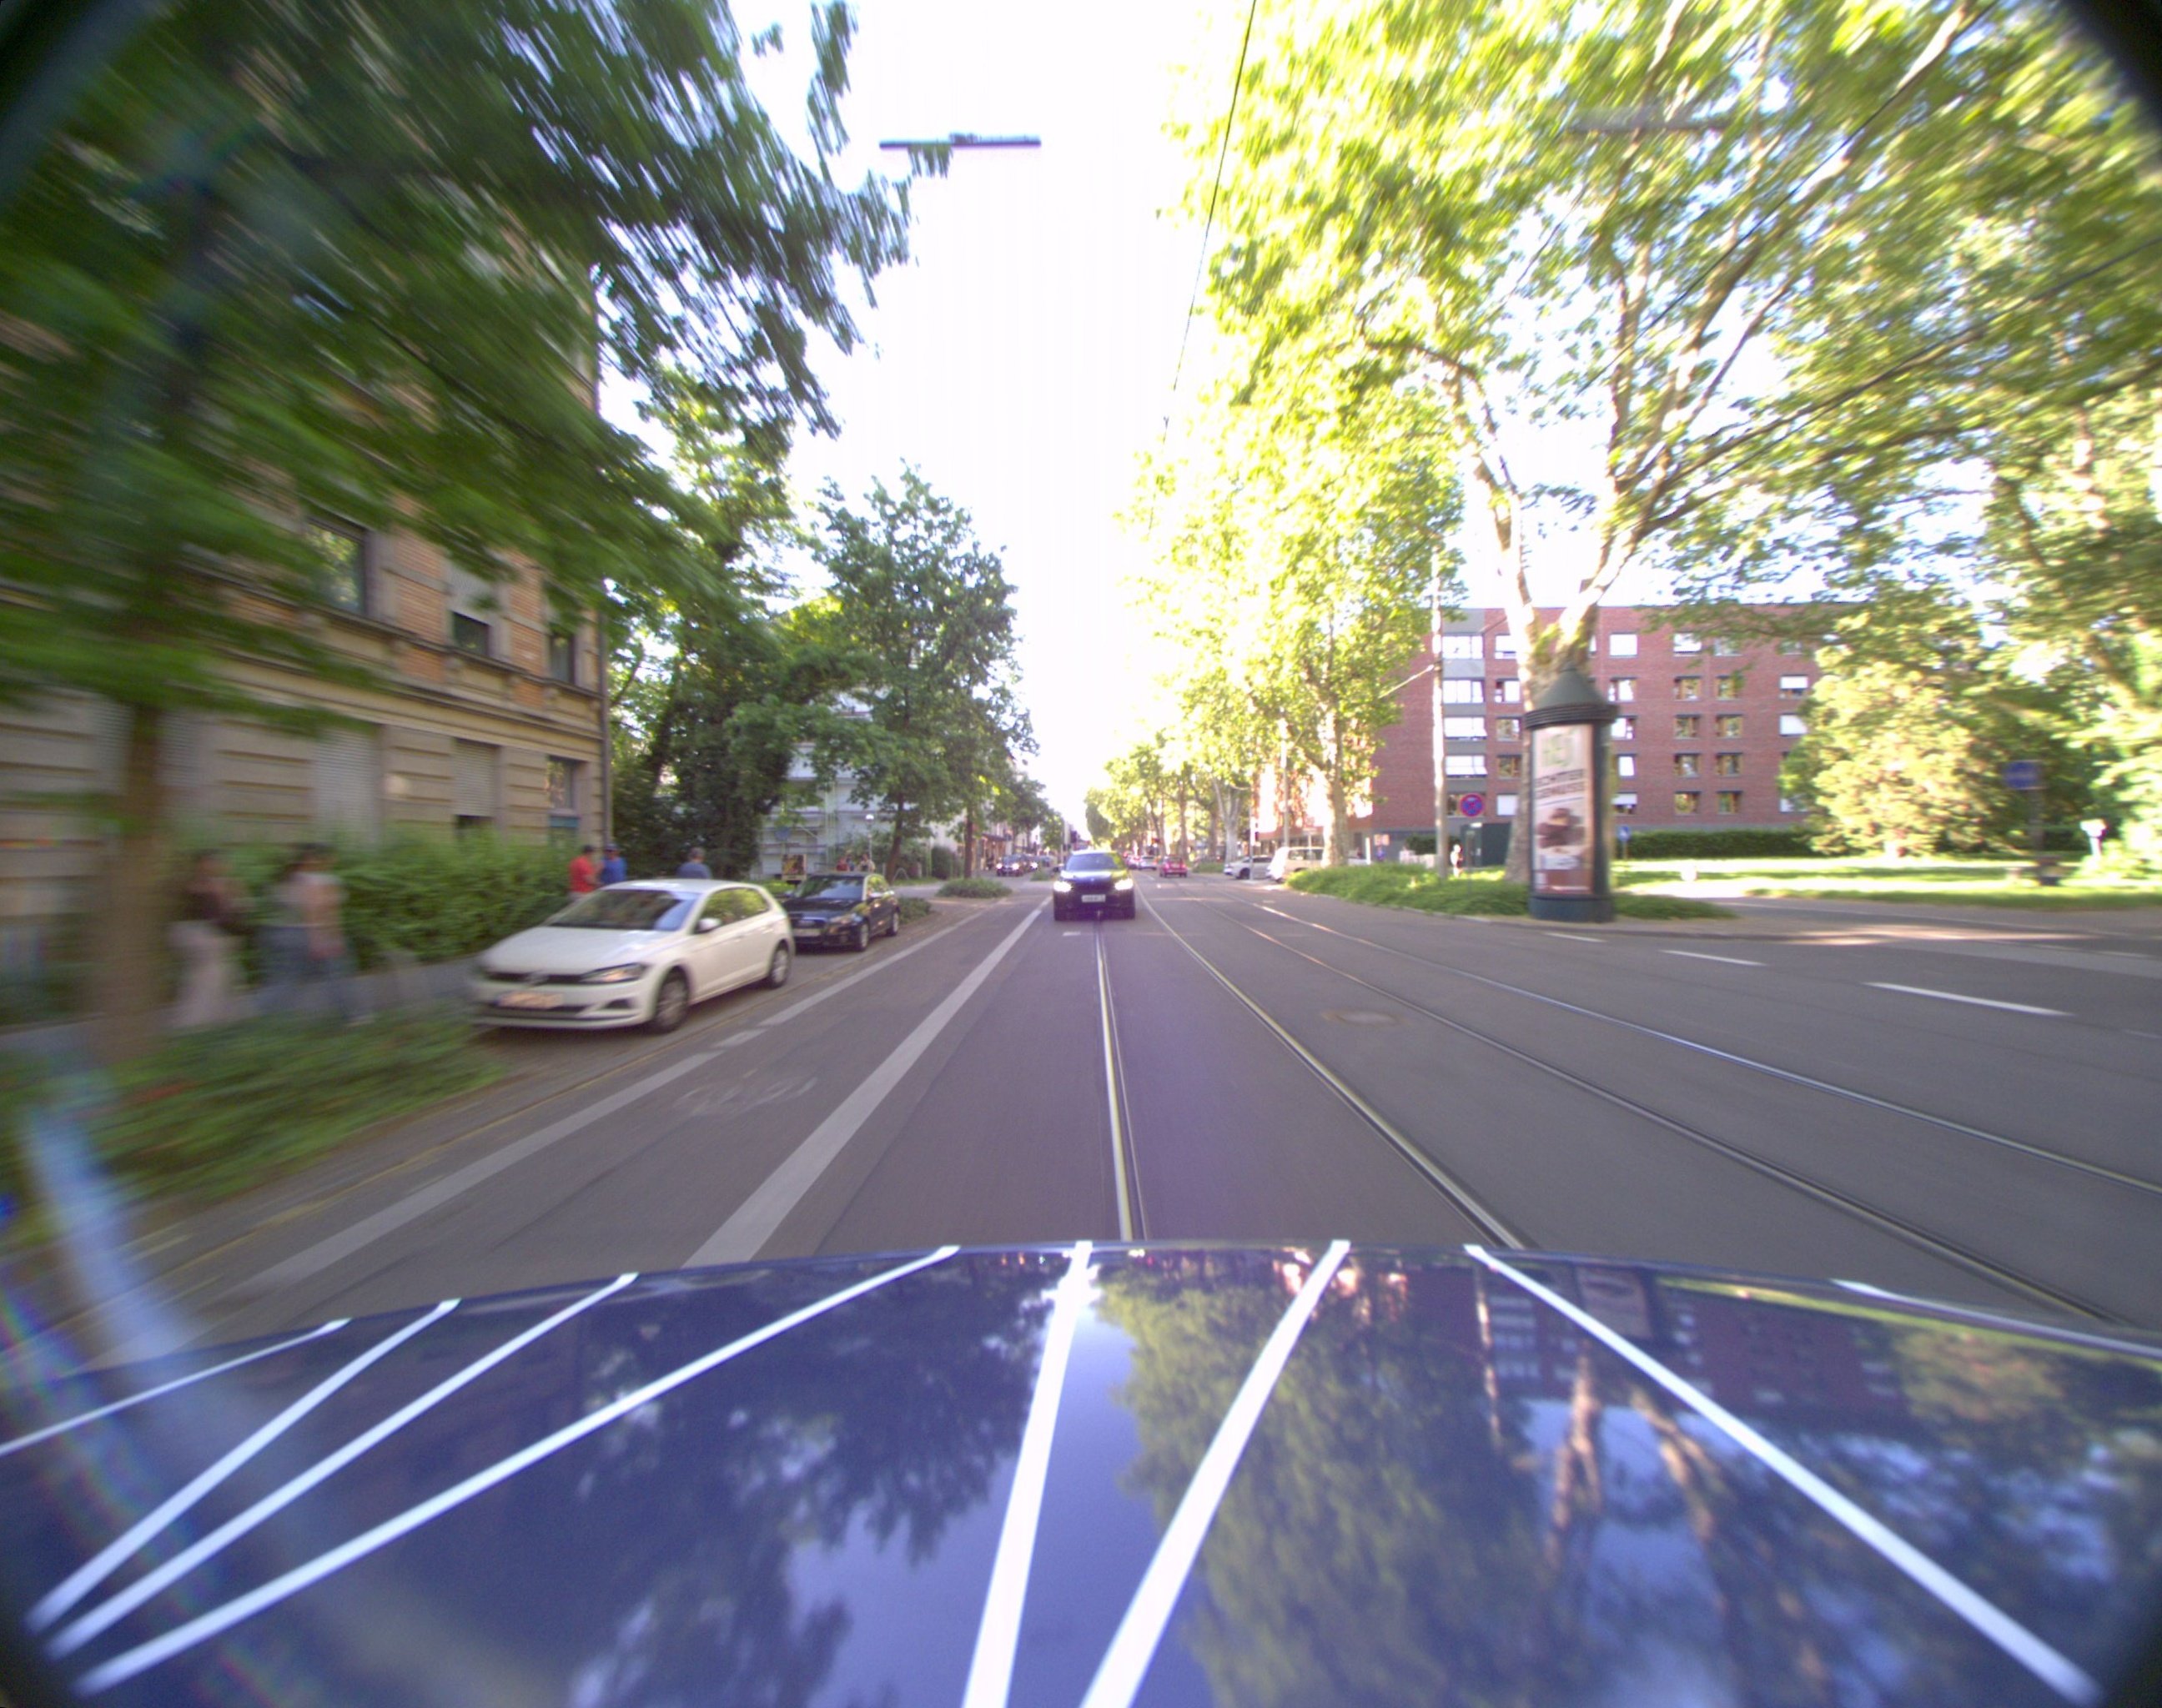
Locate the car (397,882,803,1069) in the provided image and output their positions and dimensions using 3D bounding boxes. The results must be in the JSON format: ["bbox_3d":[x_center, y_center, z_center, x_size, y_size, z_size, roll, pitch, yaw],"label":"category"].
[{"bbox_3d":[-4.863,1.115,8.537,1.888,1.360,4.106,2,1,1],"label":"car"}]

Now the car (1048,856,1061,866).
[{"bbox_3d":[-4.293,1.128,123.519,1.899,1.477,4.000,-2,1,1],"label":"car"}]

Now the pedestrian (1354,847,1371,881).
[{"bbox_3d":[15.084,0.522,40.699,0.645,1.799,0.752,-2,1,6],"label":"pedestrian"}]

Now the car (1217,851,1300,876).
[{"bbox_3d":[11.241,0.592,48.255,4.776,1.452,1.954,-2,1,0],"label":"car"}]

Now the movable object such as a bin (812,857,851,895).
[{"bbox_3d":[-8.169,0.696,24.938,0.640,1.195,1.306,1,1,12],"label":"movable object such as a bin"}]

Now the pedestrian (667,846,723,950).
[{"bbox_3d":[-6.871,0.764,13.525,0.726,1.783,0.601,-1,1,42],"label":"pedestrian"}]

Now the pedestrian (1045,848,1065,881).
[{"bbox_3d":[-1.531,0.617,43.868,0.870,1.874,0.996,-2,1,-17],"label":"pedestrian"}]

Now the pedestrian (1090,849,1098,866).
[{"bbox_3d":[1.373,0.375,80.725,0.836,1.703,0.640,-2,1,2],"label":"pedestrian"}]

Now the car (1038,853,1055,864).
[{"bbox_3d":[-5.085,0.623,111.759,1.958,1.474,4.660,-2,0,3],"label":"car"}]

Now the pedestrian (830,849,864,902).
[{"bbox_3d":[-8.015,0.714,26.042,0.727,1.783,0.969,1,1,12],"label":"pedestrian"}]

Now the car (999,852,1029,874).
[{"bbox_3d":[-5.222,0.695,59.755,1.766,1.612,4.442,1,0,2],"label":"car"}]

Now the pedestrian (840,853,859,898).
[{"bbox_3d":[-8.994,0.832,29.554,0.620,1.716,0.553,-2,1,-14],"label":"pedestrian"}]

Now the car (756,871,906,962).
[{"bbox_3d":[-4.725,1.112,14.928,1.677,1.404,3.842,2,1,-1],"label":"car"}]

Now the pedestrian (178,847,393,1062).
[{"bbox_3d":[-6.678,0.789,6.438,0.727,1.683,0.957,-2,1,6],"label":"pedestrian"}]

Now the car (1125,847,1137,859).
[{"bbox_3d":[11.602,-0.239,177.641,2.429,2.833,5.072,-2,1,0],"label":"car"}]

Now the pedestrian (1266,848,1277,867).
[{"bbox_3d":[18.191,0.317,72.654,0.765,1.734,0.972,-2,1,1],"label":"pedestrian"}]

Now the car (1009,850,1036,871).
[{"bbox_3d":[-5.548,0.580,72.589,1.998,1.885,4.194,1,0,3],"label":"car"}]

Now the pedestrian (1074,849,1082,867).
[{"bbox_3d":[-0.301,0.372,75.074,0.690,1.745,0.580,-2,1,-5],"label":"pedestrian"}]

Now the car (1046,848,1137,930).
[{"bbox_3d":[0.350,0.758,19.257,1.937,1.718,5.073,-2,0,3],"label":"car"}]

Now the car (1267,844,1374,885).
[{"bbox_3d":[11.703,0.506,37.343,4.582,1.823,1.938,-2,1,1],"label":"car"}]

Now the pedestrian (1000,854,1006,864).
[{"bbox_3d":[-8.999,0.594,87.673,0.680,1.198,0.648,-2,1,-10],"label":"pedestrian"}]

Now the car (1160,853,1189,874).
[{"bbox_3d":[6.668,0.645,54.404,1.665,1.435,3.473,-2,1,2],"label":"car"}]

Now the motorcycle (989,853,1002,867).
[{"bbox_3d":[-8.849,0.632,78.655,0.954,1.309,2.650,4,-1,-1],"label":"motorcycle"}]

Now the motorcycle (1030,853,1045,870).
[{"bbox_3d":[-3.809,0.638,66.743,1.054,1.446,2.208,-2,1,1],"label":"motorcycle"}]

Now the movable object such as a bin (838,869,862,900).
[{"bbox_3d":[-8.709,1.146,28.681,0.667,1.120,0.956,-2,1,-6],"label":"movable object such as a bin"}]

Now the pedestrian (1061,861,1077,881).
[{"bbox_3d":[-0.681,0.948,43.401,0.677,1.112,0.658,-2,1,-22],"label":"pedestrian"}]

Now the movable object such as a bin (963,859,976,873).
[{"bbox_3d":[-8.659,0.931,59.067,0.883,1.104,0.697,1,1,-1],"label":"movable object such as a bin"}]

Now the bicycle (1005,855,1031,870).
[{"bbox_3d":[-5.596,0.755,67.759,2.209,1.203,1.029,1,1,1],"label":"bicycle"}]

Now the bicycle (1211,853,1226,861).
[{"bbox_3d":[21.166,0.468,116.956,2.098,1.182,0.882,-1,1,17],"label":"bicycle"}]

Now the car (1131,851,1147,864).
[{"bbox_3d":[7.027,0.406,92.623,1.779,1.452,4.204,-2,0,2],"label":"car"}]

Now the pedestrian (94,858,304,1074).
[{"bbox_3d":[-7.499,0.905,6.506,0.727,1.699,0.856,-2,1,8],"label":"pedestrian"}]

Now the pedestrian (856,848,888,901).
[{"bbox_3d":[-7.232,0.689,26.279,0.727,1.783,0.854,1,1,12],"label":"pedestrian"}]

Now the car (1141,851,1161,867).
[{"bbox_3d":[7.276,0.479,79.542,1.820,1.559,4.116,1,1,1],"label":"car"}]

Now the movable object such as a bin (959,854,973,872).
[{"bbox_3d":[-9.226,0.742,61.235,1.002,1.389,0.824,1,1,-1],"label":"movable object such as a bin"}]

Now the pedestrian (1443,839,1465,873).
[{"bbox_3d":[18.596,0.113,37.869,0.711,1.663,0.779,-2,1,1],"label":"pedestrian"}]

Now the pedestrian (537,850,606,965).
[{"bbox_3d":[-8.199,0.841,12.261,0.600,1.783,0.728,-2,1,-7],"label":"pedestrian"}]

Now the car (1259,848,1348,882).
[{"bbox_3d":[11.718,0.582,40.207,4.150,1.637,1.902,-2,1,0],"label":"car"}]

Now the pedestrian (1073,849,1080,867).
[{"bbox_3d":[-0.416,0.370,75.769,0.493,1.760,0.704,-1,1,16],"label":"pedestrian"}]

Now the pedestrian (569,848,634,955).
[{"bbox_3d":[-8.274,0.803,13.140,0.600,1.783,0.728,-2,1,-2],"label":"pedestrian"}]
